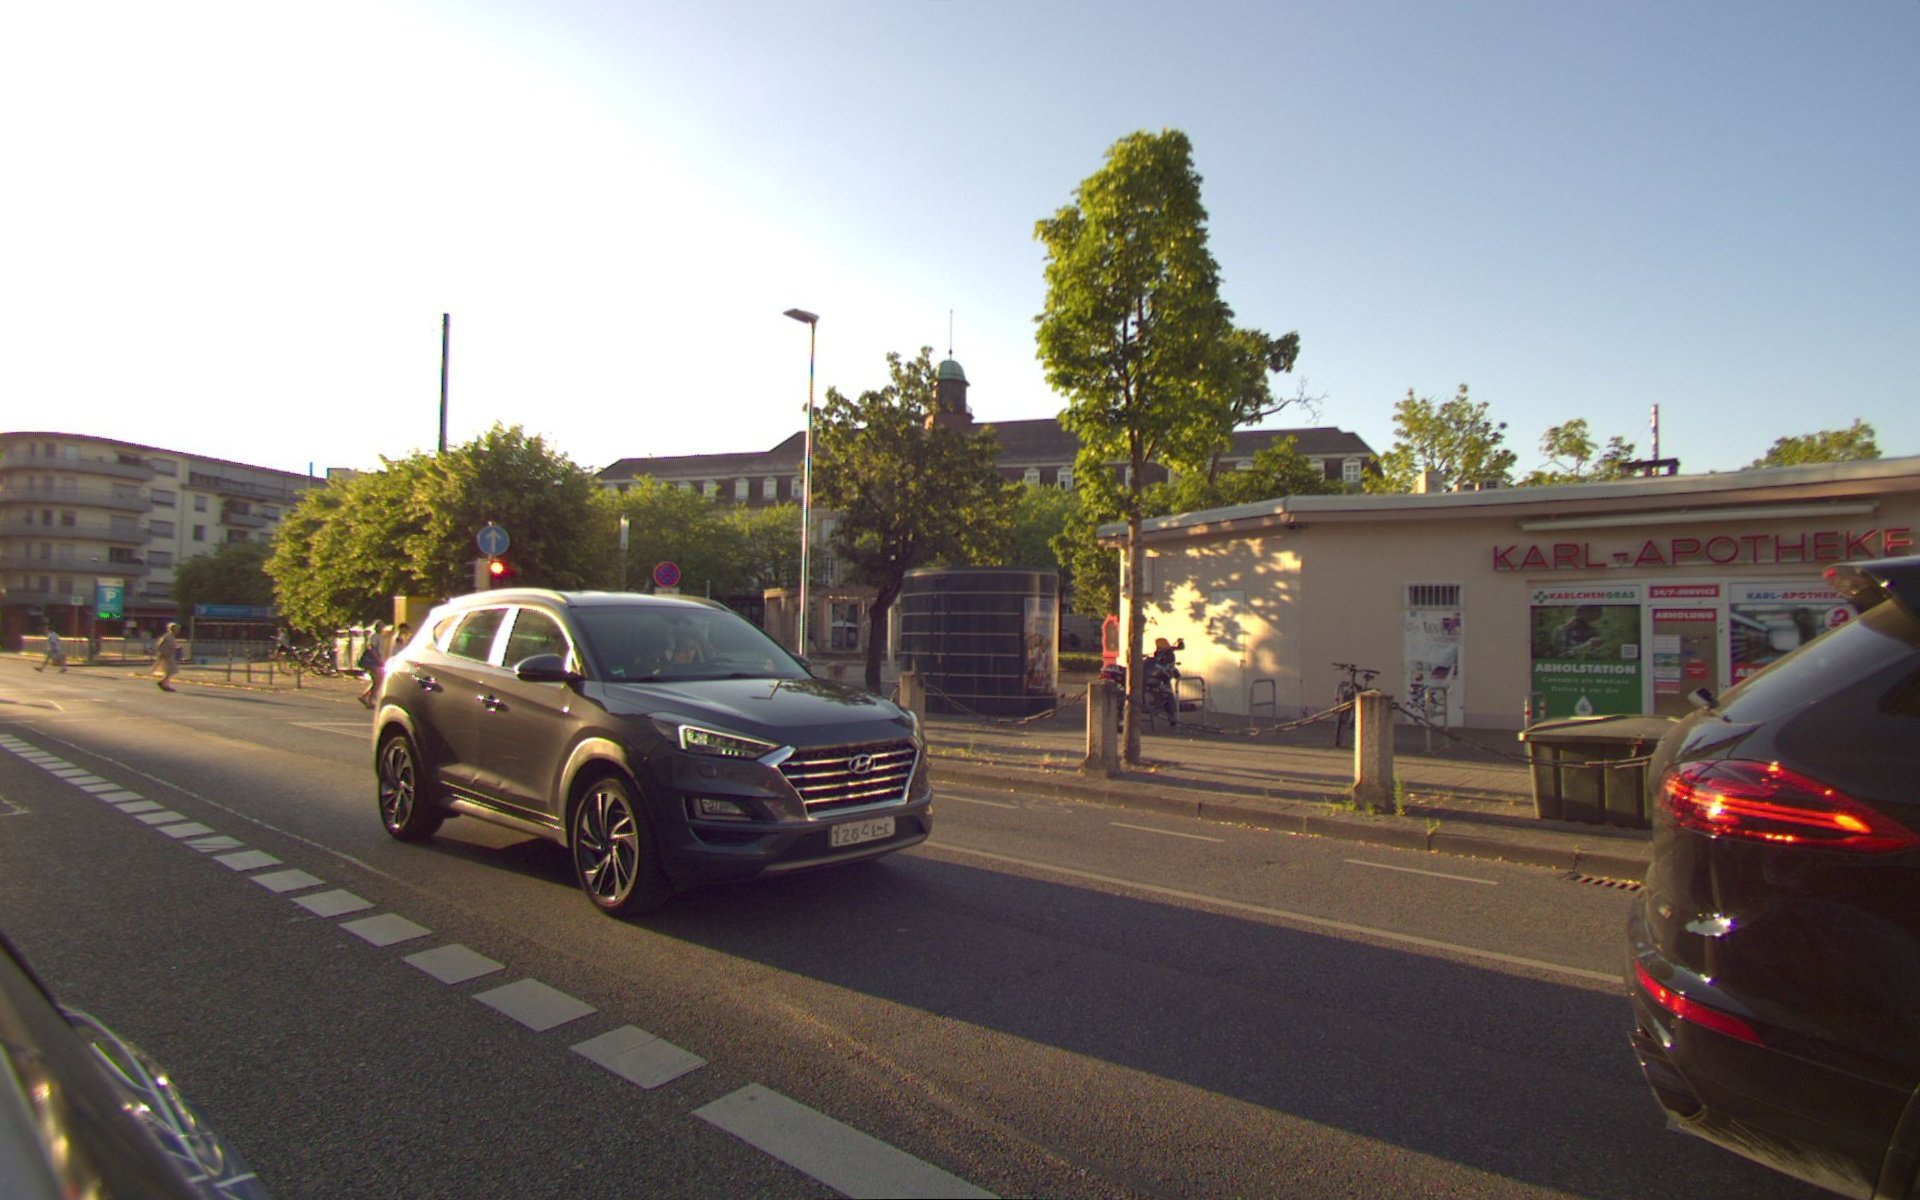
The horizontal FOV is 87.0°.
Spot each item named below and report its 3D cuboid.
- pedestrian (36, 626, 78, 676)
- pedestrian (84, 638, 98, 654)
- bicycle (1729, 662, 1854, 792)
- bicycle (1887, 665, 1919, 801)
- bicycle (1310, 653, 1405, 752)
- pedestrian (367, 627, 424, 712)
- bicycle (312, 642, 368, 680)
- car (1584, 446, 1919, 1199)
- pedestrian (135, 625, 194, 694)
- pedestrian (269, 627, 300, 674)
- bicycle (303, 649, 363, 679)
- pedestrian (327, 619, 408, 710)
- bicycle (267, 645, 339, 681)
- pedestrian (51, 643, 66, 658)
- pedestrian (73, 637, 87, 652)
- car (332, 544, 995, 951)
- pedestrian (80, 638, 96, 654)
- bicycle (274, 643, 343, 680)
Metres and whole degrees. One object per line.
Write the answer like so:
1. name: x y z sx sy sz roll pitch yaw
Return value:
1. pedestrian: -33.374 1.885 37.415 0.936 1.831 0.828 2 -3 -32
2. pedestrian: -74.483 3.961 86.752 0.887 1.332 0.723 -2 -3 38
3. bicycle: 9.095 1.315 11.051 0.949 1.266 1.984 -2 -4 41
4. bicycle: 9.947 1.294 10.205 0.787 1.266 2.418 -2 -4 41
5. bicycle: 5.527 1.383 14.022 0.632 1.266 1.834 -2 -4 41
6. pedestrian: -13.069 1.606 23.438 0.926 1.912 0.827 3 -4 -42
7. bicycle: -21.133 2.069 34.539 0.444 1.262 1.571 -2 -2 38
8. car: 3.669 0.587 1.373 4.558 1.727 1.929 -2 -4 40
9. pedestrian: -19.430 1.452 24.729 0.779 1.666 0.781 1 -3 -7
10. pedestrian: -26.690 1.985 39.981 0.858 1.831 0.827 3 -4 -40
11. bicycle: -21.509 2.184 34.743 0.548 0.986 1.658 -2 -2 36
12. pedestrian: -12.004 1.299 20.519 0.821 1.788 1.092 -1 -3 24
13. bicycle: -22.548 2.152 34.787 0.548 1.143 2.007 -2 -2 36
14. pedestrian: -74.822 4.191 83.965 0.875 1.201 0.734 2 -4 -40
15. pedestrian: -75.013 3.788 86.245 0.888 1.332 0.723 -2 -3 39
16. car: -2.095 0.727 6.415 4.446 1.702 1.853 -2 -5 40
17. pedestrian: -74.786 3.956 86.778 0.814 1.332 0.684 -1 -3 16
18. bicycle: -23.451 2.192 36.454 0.548 1.262 2.007 -2 -2 36
